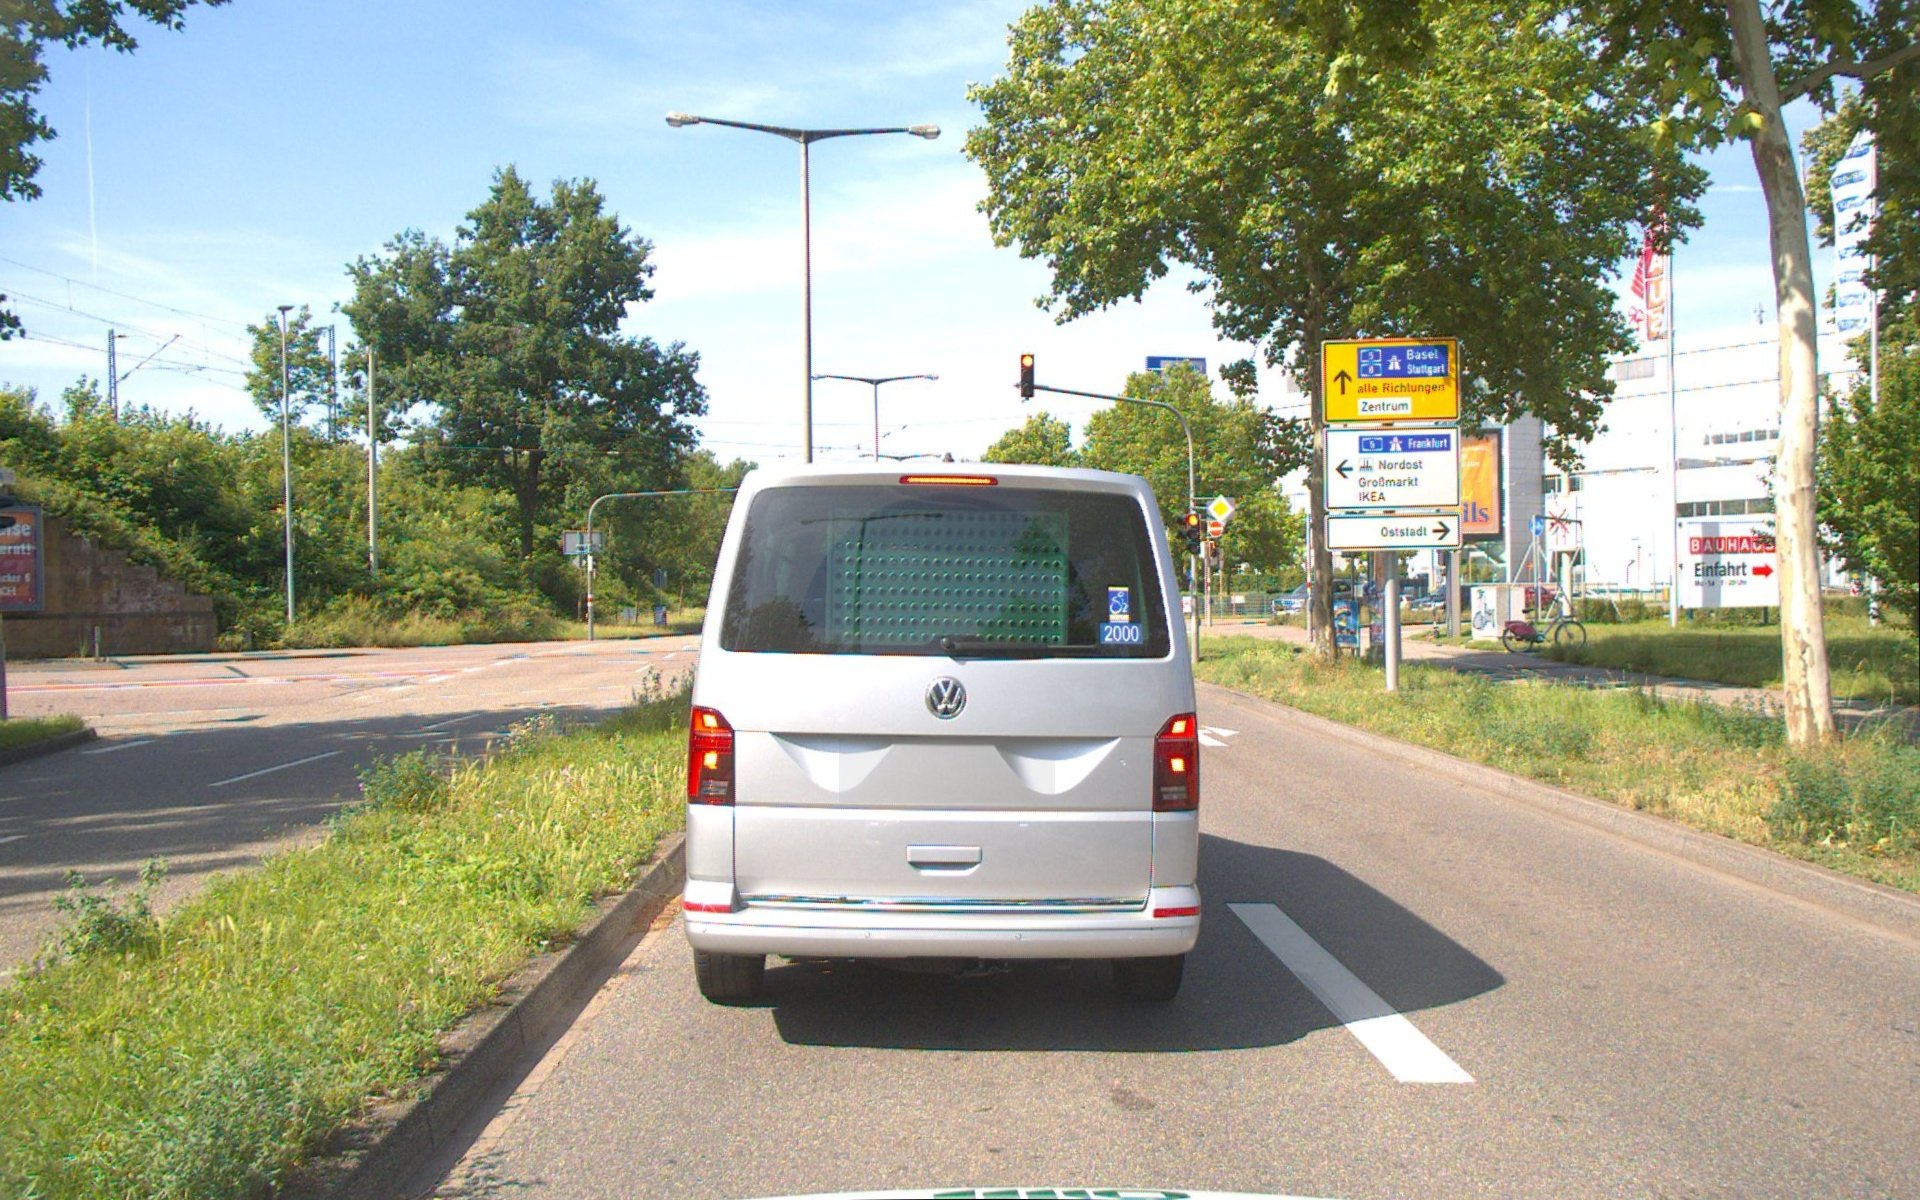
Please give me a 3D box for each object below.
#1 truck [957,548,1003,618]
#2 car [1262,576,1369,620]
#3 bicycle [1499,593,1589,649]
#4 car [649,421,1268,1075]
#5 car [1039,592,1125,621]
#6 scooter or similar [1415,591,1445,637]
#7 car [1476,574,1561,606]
[{"bbox_3d":[1.153,-1.015,100.919,2.501,4.026,8.972,-1,0,-1],"label":"truck"},{"bbox_3d":[14.862,-0.104,69.033,4.578,1.718,1.890,-1,0,-38],"label":"car"},{"bbox_3d":[12.503,0.455,35.440,1.748,1.127,0.504,-3,-1,18],"label":"bicycle"},{"bbox_3d":[-0.037,0.448,7.625,1.902,2.006,5.021,0,0,-1],"label":"car"},{"bbox_3d":[6.550,0.345,89.159,4.549,1.469,1.769,-1,0,45],"label":"car"},{"bbox_3d":[12.090,0.355,42.565,0.416,1.146,1.123,-1,0,-2],"label":"scooter or similar"},{"bbox_3d":[27.849,-0.495,82.457,4.578,1.469,1.758,-1,0,-38],"label":"car"}]
